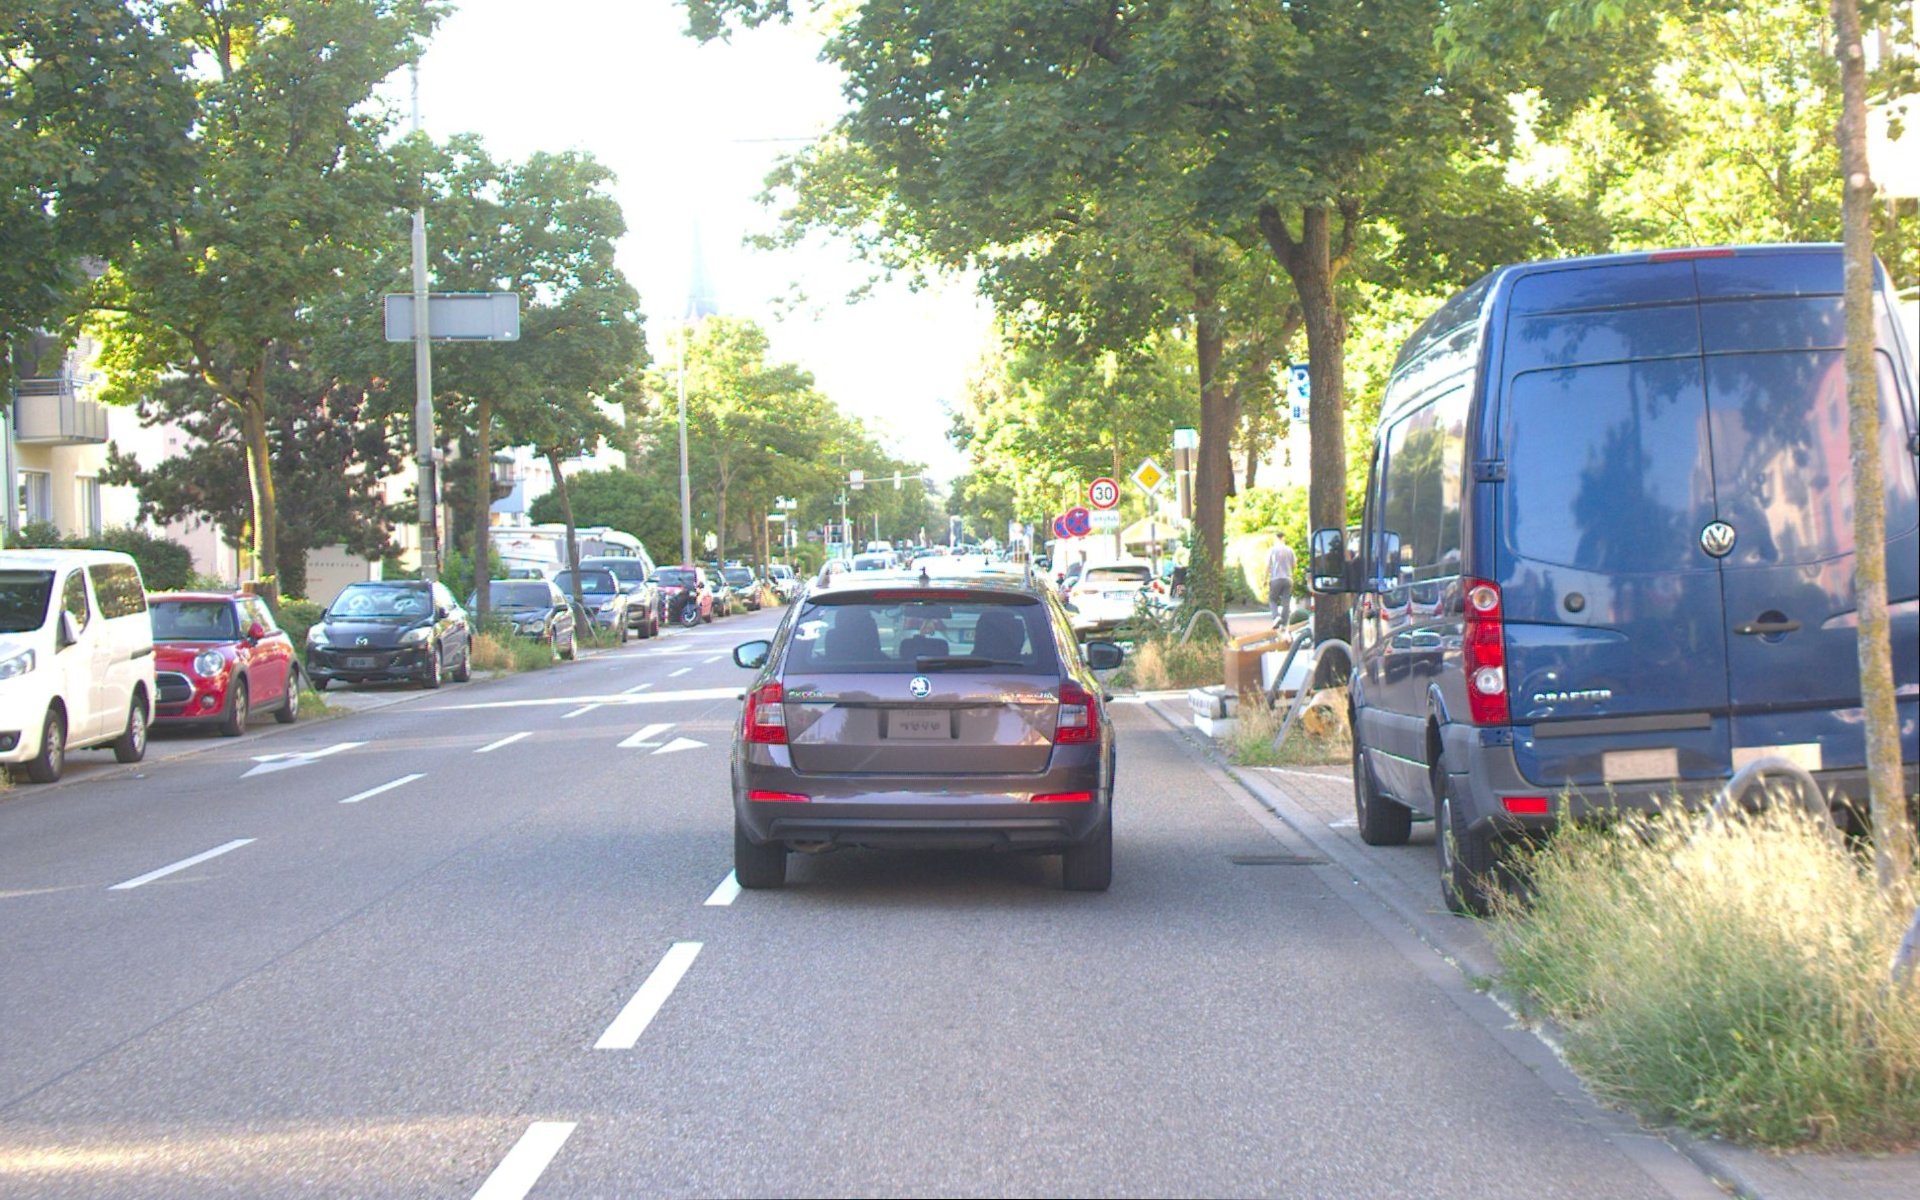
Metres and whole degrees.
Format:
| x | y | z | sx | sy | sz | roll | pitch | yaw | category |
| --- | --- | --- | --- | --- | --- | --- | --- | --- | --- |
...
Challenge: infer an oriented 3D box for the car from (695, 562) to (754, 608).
| x | y | z | sx | sy | sz | roll | pitch | yaw | category |
| --- | --- | --- | --- | --- | --- | --- | --- | --- | --- |
| -7.700 | -0.504 | 112.612 | 1.664 | 1.427 | 3.275 | -1 | 1 | 0 | car |

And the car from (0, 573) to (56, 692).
| x | y | z | sx | sy | sz | roll | pitch | yaw | category |
| --- | --- | --- | --- | --- | --- | --- | --- | --- | --- |
| -13.896 | 0.416 | 44.343 | 3.986 | 1.474 | 2.000 | 0 | 1 | -3 | car |

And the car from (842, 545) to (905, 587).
| x | y | z | sx | sy | sz | roll | pitch | yaw | category |
| --- | --- | --- | --- | --- | --- | --- | --- | --- | --- |
| -3.766 | -1.496 | 150.238 | 1.877 | 1.751 | 4.177 | -1 | 1 | 11 | car |

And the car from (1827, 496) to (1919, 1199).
| x | y | z | sx | sy | sz | roll | pitch | yaw | category |
| --- | --- | --- | --- | --- | --- | --- | --- | --- | --- |
| 2.798 | 0.603 | 5.468 | 1.772 | 1.636 | 3.757 | -1 | 0 | -1 | car |

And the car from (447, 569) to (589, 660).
| x | y | z | sx | sy | sz | roll | pitch | yaw | category |
| --- | --- | --- | --- | --- | --- | --- | --- | --- | --- |
| -7.517 | 0.219 | 58.824 | 1.754 | 1.415 | 4.425 | -1 | 1 | 1 | car |

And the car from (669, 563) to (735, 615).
| x | y | z | sx | sy | sz | roll | pitch | yaw | category |
| --- | --- | --- | --- | --- | --- | --- | --- | --- | --- |
| -7.641 | -0.332 | 101.996 | 1.664 | 1.427 | 3.275 | -1 | 1 | 0 | car |

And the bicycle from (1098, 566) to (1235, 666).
| x | y | z | sx | sy | sz | roll | pitch | yaw | category |
| --- | --- | --- | --- | --- | --- | --- | --- | --- | --- |
| 2.766 | 0.216 | 45.984 | 1.671 | 1.222 | 0.635 | -3 | 1 | 13 | bicycle |

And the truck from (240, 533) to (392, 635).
| x | y | z | sx | sy | sz | roll | pitch | yaw | category |
| --- | --- | --- | --- | --- | --- | --- | --- | --- | --- |
| -13.721 | -0.350 | 73.313 | 2.913 | 2.086 | 1.546 | -1 | 1 | 0 | truck |

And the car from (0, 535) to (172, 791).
| x | y | z | sx | sy | sz | roll | pitch | yaw | category |
| --- | --- | --- | --- | --- | --- | --- | --- | --- | --- |
| -7.891 | 0.449 | 28.179 | 1.770 | 1.912 | 4.460 | -1 | 1 | 0 | car |

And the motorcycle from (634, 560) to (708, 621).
| x | y | z | sx | sy | sz | roll | pitch | yaw | category |
| --- | --- | --- | --- | --- | --- | --- | --- | --- | --- |
| -7.304 | -0.237 | 86.760 | 0.764 | 1.506 | 2.029 | -2 | 2 | -42 | motorcycle |

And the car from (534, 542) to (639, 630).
| x | y | z | sx | sy | sz | roll | pitch | yaw | category |
| --- | --- | --- | --- | --- | --- | --- | --- | --- | --- |
| -7.773 | -0.308 | 71.793 | 1.750 | 1.734 | 3.591 | -1 | 1 | 0 | car |

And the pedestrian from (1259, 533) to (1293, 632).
| x | y | z | sx | sy | sz | roll | pitch | yaw | category |
| --- | --- | --- | --- | --- | --- | --- | --- | --- | --- |
| 5.760 | -0.325 | 62.689 | 0.535 | 1.788 | 0.687 | -1 | 1 | 2 | pedestrian |

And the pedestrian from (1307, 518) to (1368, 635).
| x | y | z | sx | sy | sz | roll | pitch | yaw | category |
| --- | --- | --- | --- | --- | --- | --- | --- | --- | --- |
| 5.879 | -0.375 | 53.573 | 0.756 | 1.790 | 0.906 | -1 | 1 | -4 | pedestrian |

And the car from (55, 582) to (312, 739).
| x | y | z | sx | sy | sz | roll | pitch | yaw | category |
| --- | --- | --- | --- | --- | --- | --- | --- | --- | --- |
| -7.857 | 0.577 | 35.103 | 1.717 | 1.416 | 3.786 | -1 | 1 | 0 | car |

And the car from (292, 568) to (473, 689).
| x | y | z | sx | sy | sz | roll | pitch | yaw | category |
| --- | --- | --- | --- | --- | --- | --- | --- | --- | --- |
| -7.882 | 0.355 | 47.290 | 1.717 | 1.492 | 4.248 | -1 | 1 | 0 | car |

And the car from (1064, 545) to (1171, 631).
| x | y | z | sx | sy | sz | roll | pitch | yaw | category |
| --- | --- | --- | --- | --- | --- | --- | --- | --- | --- |
| 2.809 | -0.240 | 61.603 | 1.821 | 1.408 | 4.111 | -1 | 1 | 2 | car |

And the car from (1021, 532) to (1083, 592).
| x | y | z | sx | sy | sz | roll | pitch | yaw | category |
| --- | --- | --- | --- | --- | --- | --- | --- | --- | --- |
| 2.897 | -1.228 | 108.933 | 1.729 | 1.809 | 3.951 | -1 | 1 | -1 | car |

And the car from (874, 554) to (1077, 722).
| x | y | z | sx | sy | sz | roll | pitch | yaw | category |
| --- | --- | --- | --- | --- | --- | --- | --- | --- | --- |
| 0.097 | 0.327 | 33.951 | 1.729 | 1.488 | 3.951 | -1 | 1 | -3 | car |

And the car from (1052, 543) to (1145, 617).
| x | y | z | sx | sy | sz | roll | pitch | yaw | category |
| --- | --- | --- | --- | --- | --- | --- | --- | --- | --- |
| 2.830 | -0.426 | 70.224 | 1.821 | 1.408 | 4.111 | -1 | 1 | 2 | car |

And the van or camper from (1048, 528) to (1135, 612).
| x | y | z | sx | sy | sz | roll | pitch | yaw | category |
| --- | --- | --- | --- | --- | --- | --- | --- | --- | --- |
| 3.254 | -0.766 | 85.633 | 1.993 | 2.007 | 4.000 | -1 | 1 | 0 | van or camper |

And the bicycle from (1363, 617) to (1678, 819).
| x | y | z | sx | sy | sz | roll | pitch | yaw | category |
| --- | --- | --- | --- | --- | --- | --- | --- | --- | --- |
| 3.153 | 0.663 | 19.409 | 1.702 | 1.085 | 0.404 | -1 | 1 | 3 | bicycle |

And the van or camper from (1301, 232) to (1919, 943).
| x | y | z | sx | sy | sz | roll | pitch | yaw | category |
| --- | --- | --- | --- | --- | --- | --- | --- | --- | --- |
| 2.932 | -0.069 | 16.079 | 2.068 | 2.666 | 5.990 | -1 | 0 | 0 | van or camper |

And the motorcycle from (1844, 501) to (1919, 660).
| x | y | z | sx | sy | sz | roll | pitch | yaw | category |
| --- | --- | --- | --- | --- | --- | --- | --- | --- | --- |
| 10.292 | -0.221 | 35.423 | 2.195 | 1.615 | 0.731 | -1 | 1 | 7 | motorcycle |

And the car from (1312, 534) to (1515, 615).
| x | y | z | sx | sy | sz | roll | pitch | yaw | category |
| --- | --- | --- | --- | --- | --- | --- | --- | --- | --- |
| 9.201 | -0.524 | 69.731 | 3.799 | 1.520 | 1.512 | -2 | 1 | -21 | car |

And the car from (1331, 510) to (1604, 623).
| x | y | z | sx | sy | sz | roll | pitch | yaw | category |
| --- | --- | --- | --- | --- | --- | --- | --- | --- | --- |
| 9.104 | -0.611 | 61.608 | 4.532 | 1.886 | 1.915 | -2 | 1 | -27 | car |

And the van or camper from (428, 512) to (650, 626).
| x | y | z | sx | sy | sz | roll | pitch | yaw | category |
| --- | --- | --- | --- | --- | --- | --- | --- | --- | --- |
| -15.031 | -1.128 | 123.076 | 7.640 | 3.861 | 2.000 | -1 | 1 | -1 | van or camper |

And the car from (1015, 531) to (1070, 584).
| x | y | z | sx | sy | sz | roll | pitch | yaw | category |
| --- | --- | --- | --- | --- | --- | --- | --- | --- | --- |
| 2.903 | -1.509 | 121.424 | 1.729 | 1.809 | 3.951 | -1 | 1 | -1 | car |

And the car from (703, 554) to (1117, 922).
| x | y | z | sx | sy | sz | roll | pitch | yaw | category |
| --- | --- | --- | --- | --- | --- | --- | --- | --- | --- |
| -0.167 | 0.562 | 16.585 | 1.729 | 1.488 | 3.951 | -1 | 1 | 1 | car |

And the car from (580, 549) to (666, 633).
| x | y | z | sx | sy | sz | roll | pitch | yaw | category |
| --- | --- | --- | --- | --- | --- | --- | --- | --- | --- |
| -7.477 | -0.224 | 76.459 | 1.507 | 1.751 | 3.694 | -1 | 1 | 0 | car |
